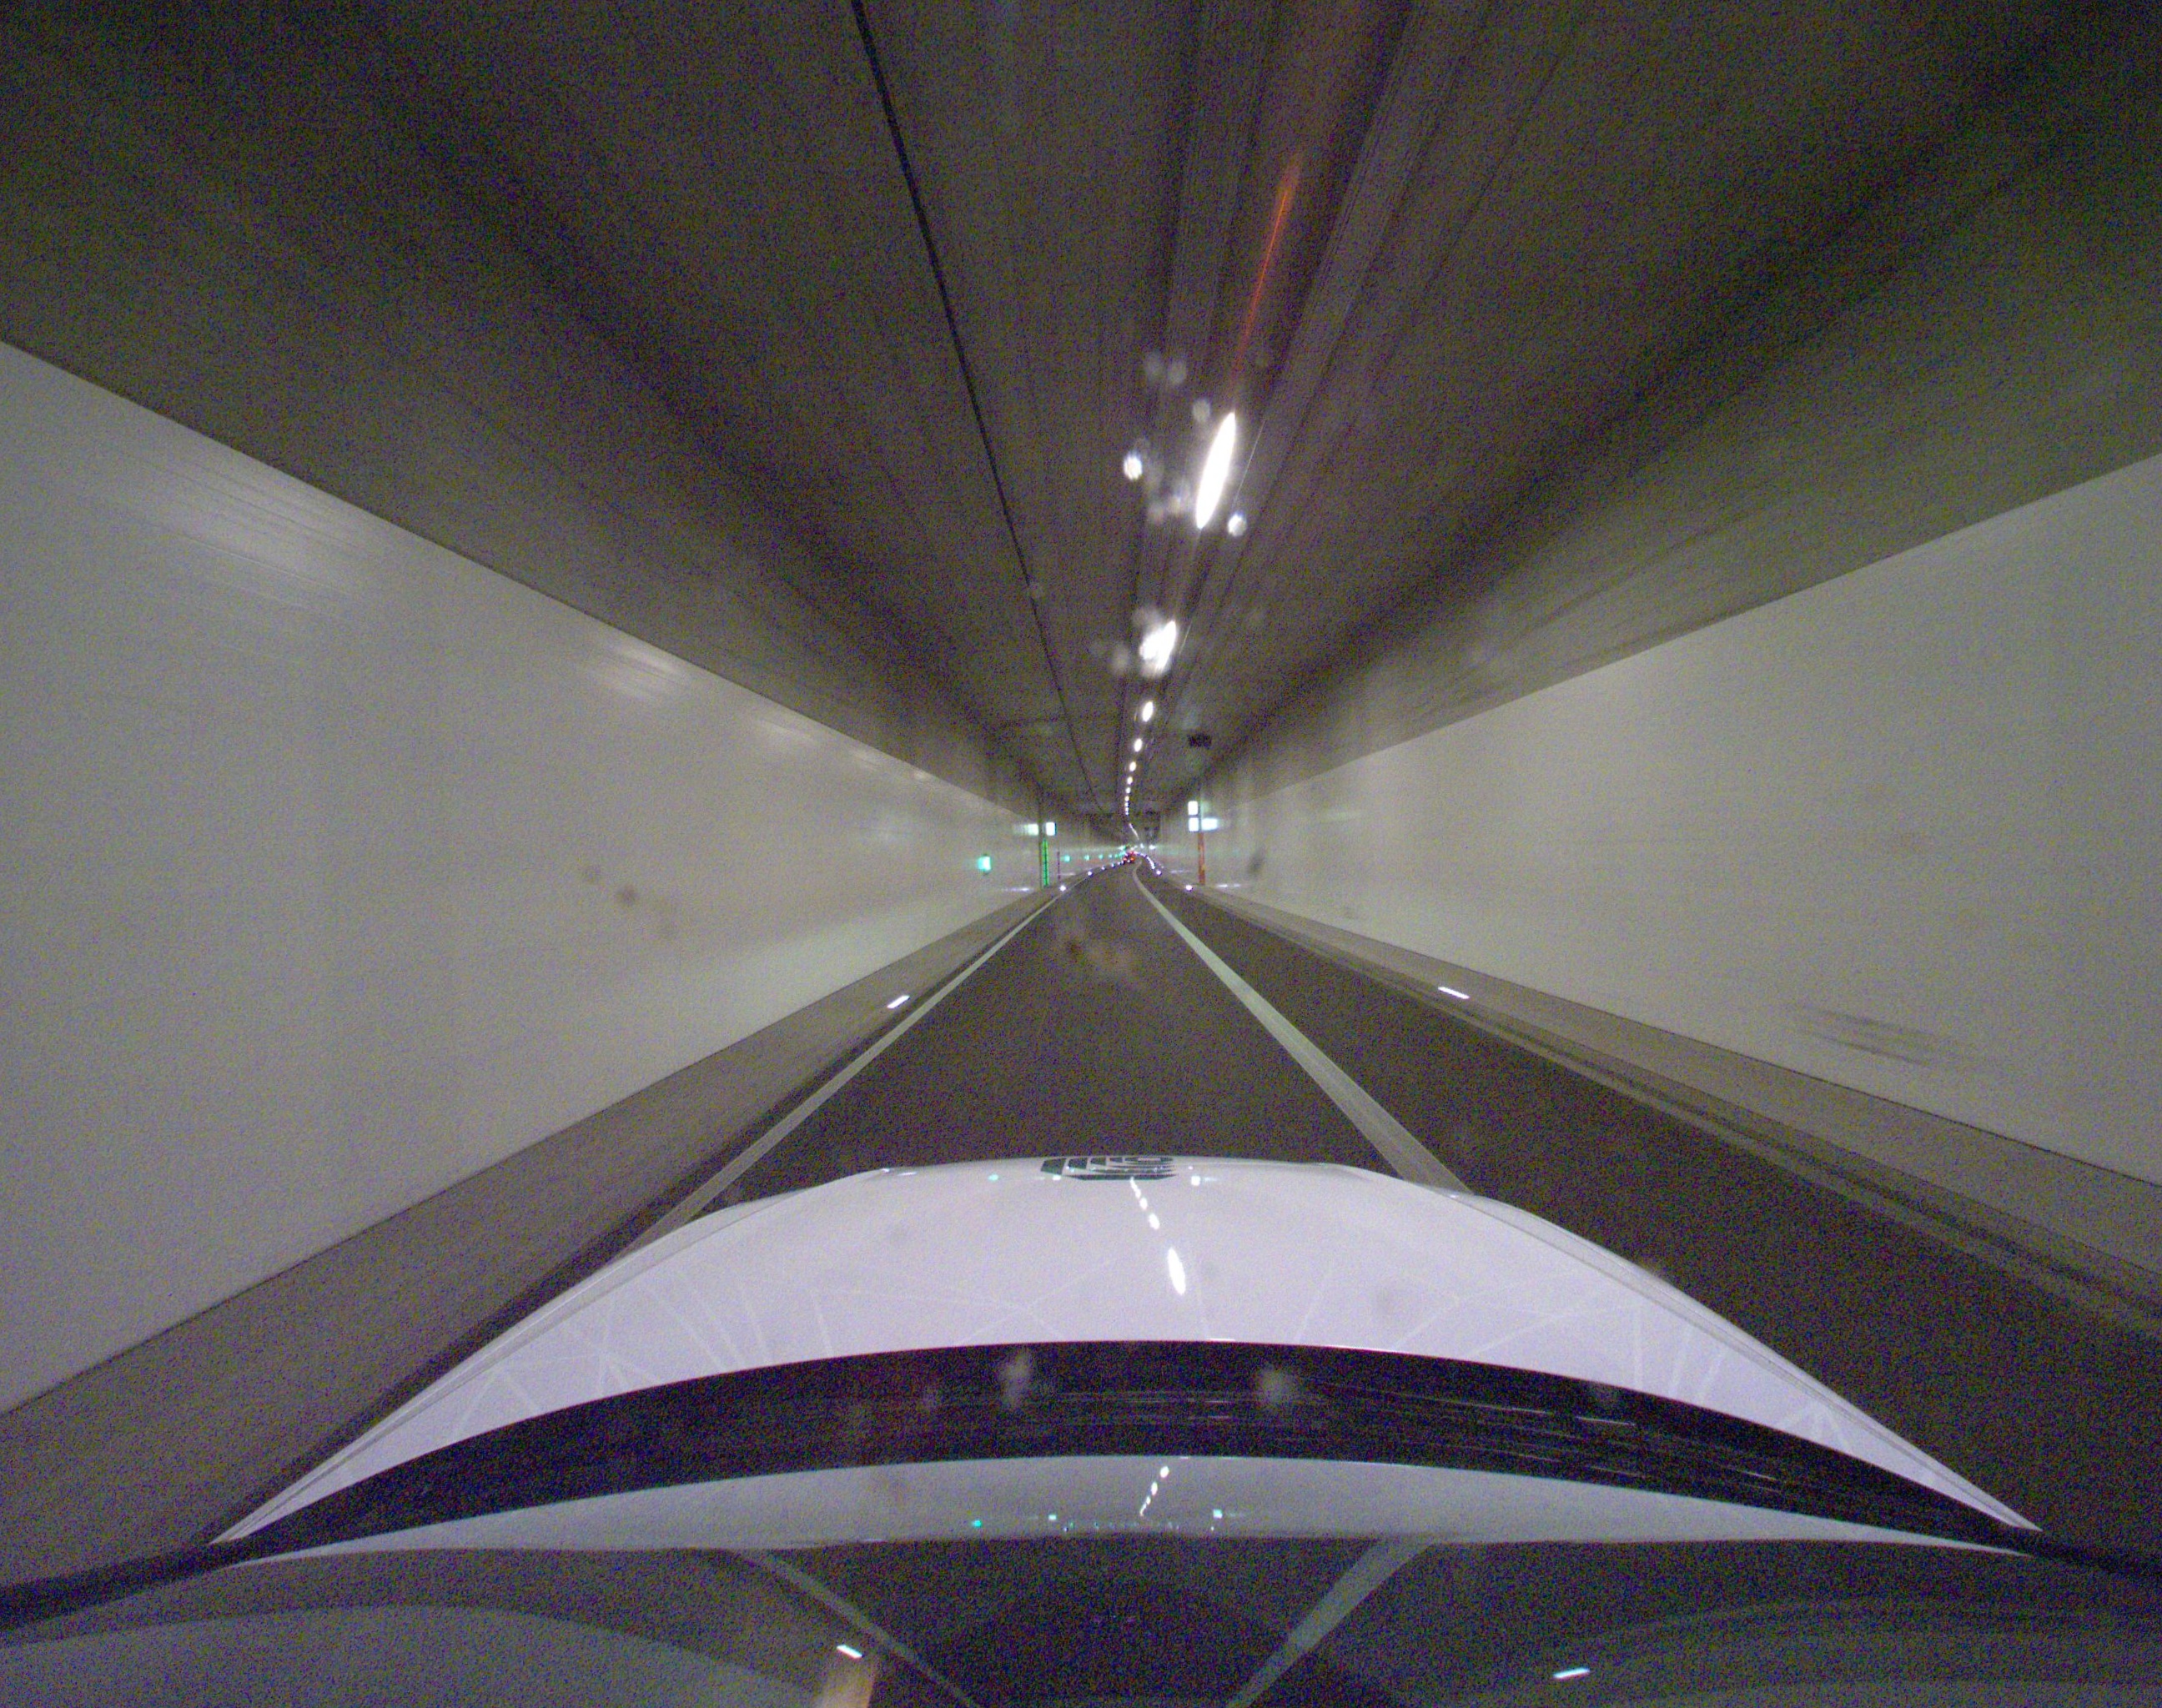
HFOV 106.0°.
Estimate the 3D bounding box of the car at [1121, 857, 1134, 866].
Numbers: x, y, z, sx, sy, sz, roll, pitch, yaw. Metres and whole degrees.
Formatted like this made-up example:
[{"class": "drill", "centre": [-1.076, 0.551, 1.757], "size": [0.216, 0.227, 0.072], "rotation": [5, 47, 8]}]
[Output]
[{"class": "car", "centre": [7.532, 1.255, 132.296], "size": [1.986, 1.420, 4.002], "rotation": [0, 0, 2]}]
